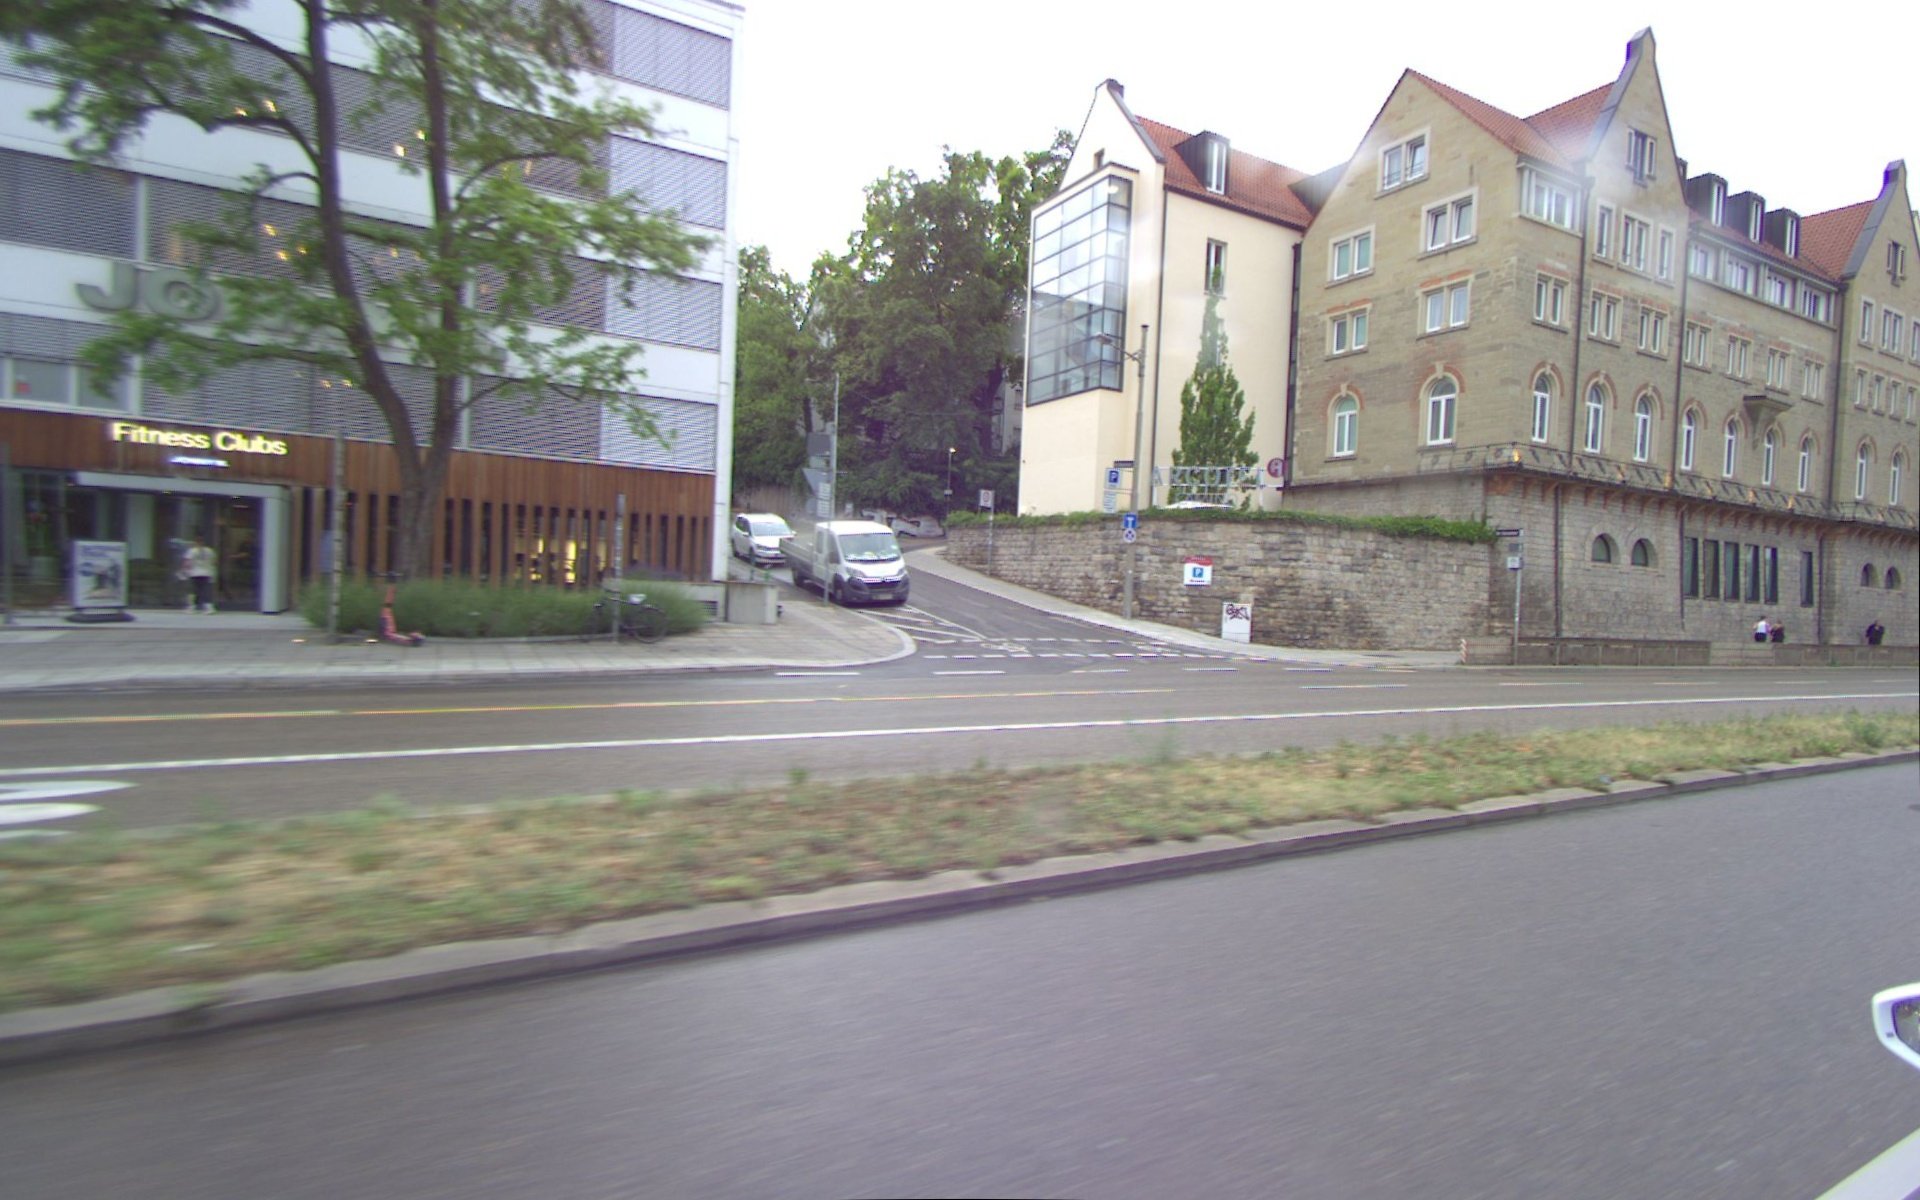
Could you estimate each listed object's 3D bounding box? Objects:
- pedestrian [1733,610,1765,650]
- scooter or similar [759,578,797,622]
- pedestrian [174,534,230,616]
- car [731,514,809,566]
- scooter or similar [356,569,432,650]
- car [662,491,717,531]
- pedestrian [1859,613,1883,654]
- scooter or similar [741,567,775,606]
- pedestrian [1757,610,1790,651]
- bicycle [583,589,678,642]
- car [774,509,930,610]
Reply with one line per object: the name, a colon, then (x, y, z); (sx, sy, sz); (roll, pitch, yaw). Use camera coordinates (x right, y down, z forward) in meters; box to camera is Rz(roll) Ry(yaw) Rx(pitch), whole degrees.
pedestrian: (30.226, 1.154, 38.475); (0.705, 1.497, 0.751); (0, 1, -29)
scooter or similar: (-4.598, -0.016, 25.296); (0.439, 0.934, 1.461); (0, 6, -30)
pedestrian: (-15.880, -0.510, 21.067); (0.831, 1.663, 0.765); (0, 1, -29)
car: (-7.171, -2.211, 37.692); (1.973, 1.807, 3.974); (0, 2, -25)
scooter or similar: (-9.991, 0.146, 17.698); (1.725, 1.263, 0.369); (5, 3, 33)
car: (-13.812, -4.553, 51.221); (1.791, 1.707, 3.782); (0, 8, -30)
pedestrian: (40.227, 1.459, 44.353); (0.614, 1.769, 0.637); (0, 1, -30)
scooter or similar: (-5.566, -0.377, 27.628); (0.439, 0.934, 1.461); (0, 6, -30)
pedestrian: (30.605, 1.137, 37.798); (0.705, 1.497, 0.751); (0, 1, -29)
bicycle: (-6.578, 0.317, 20.054); (1.737, 1.004, 0.454); (1, 1, -29)
car: (-3.525, -1.414, 30.817); (2.481, 2.308, 6.873); (-3, 9, -27)
